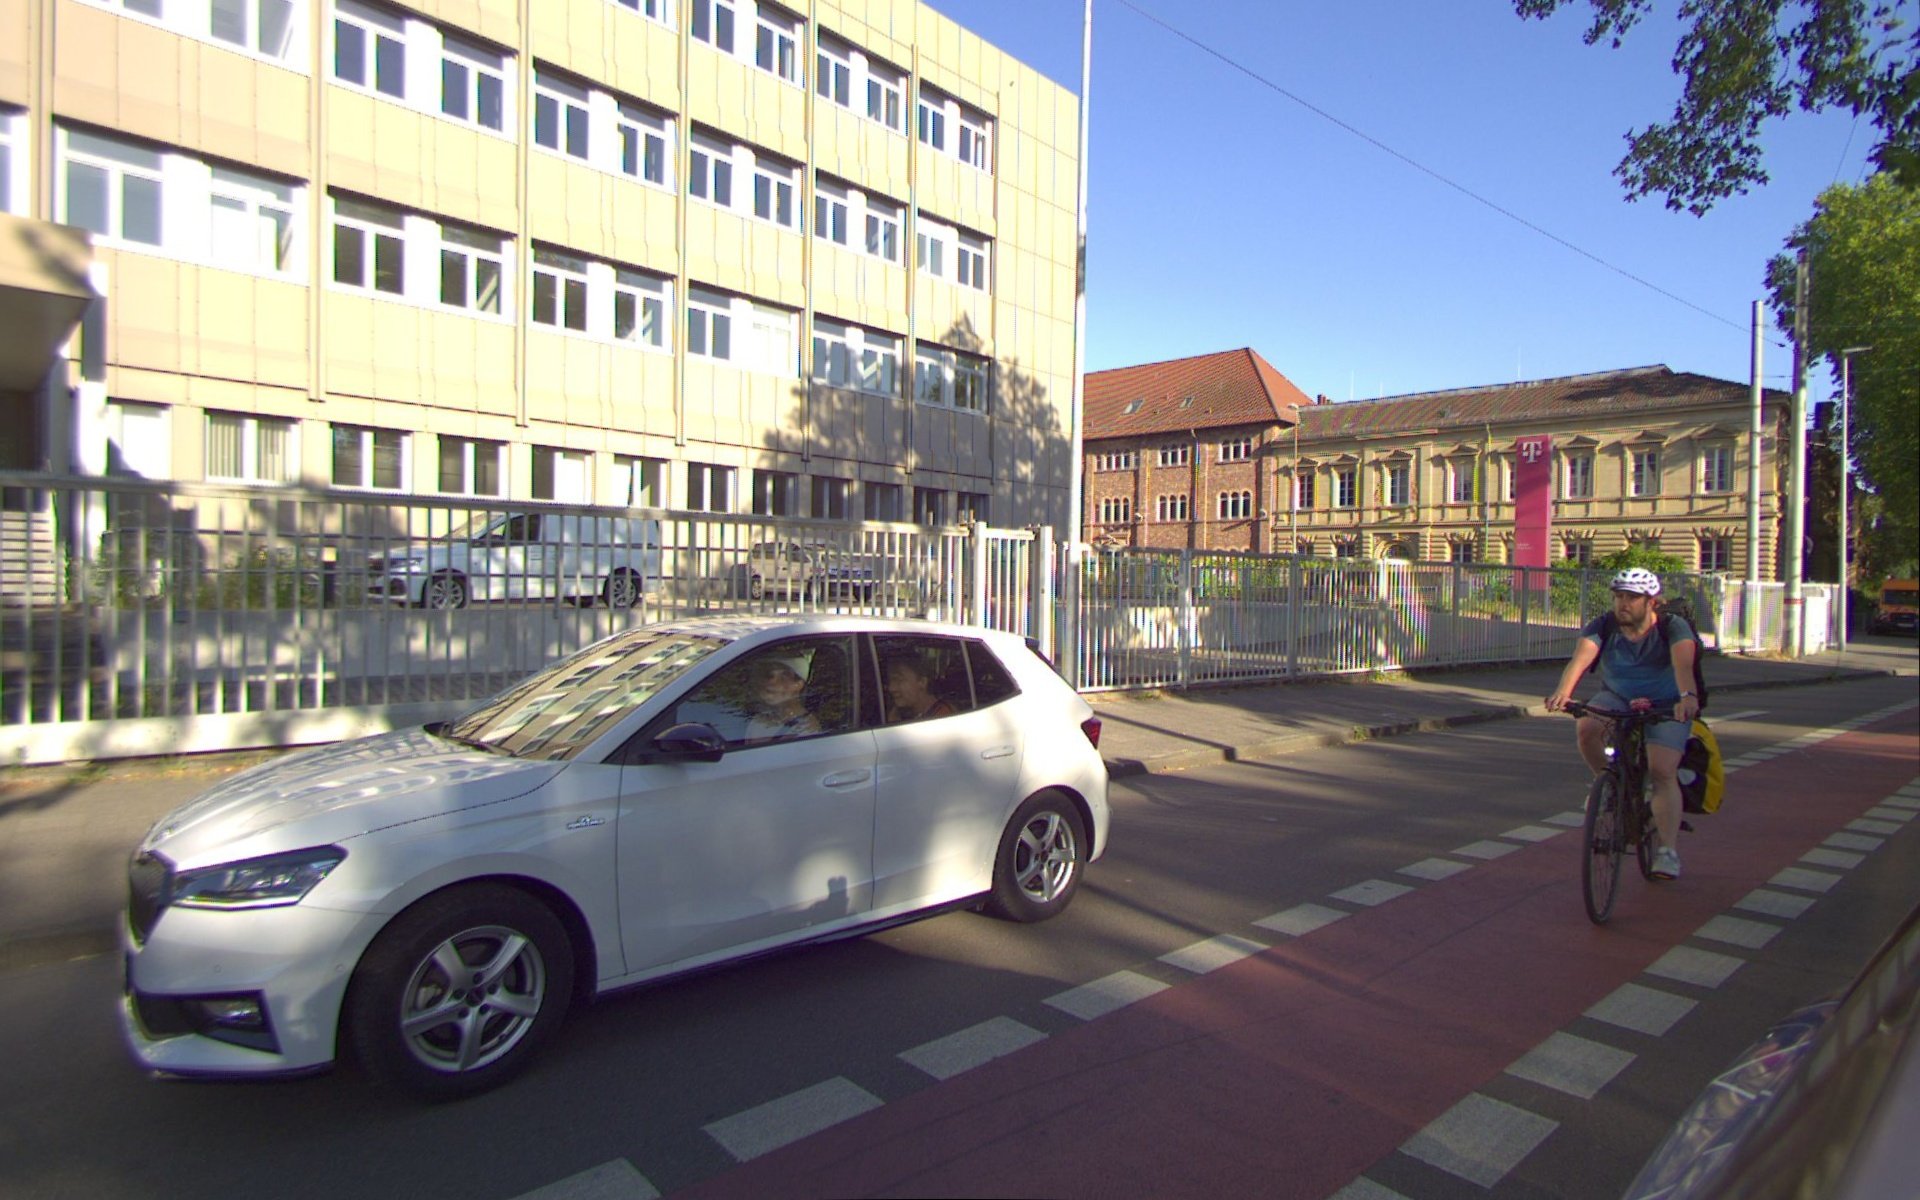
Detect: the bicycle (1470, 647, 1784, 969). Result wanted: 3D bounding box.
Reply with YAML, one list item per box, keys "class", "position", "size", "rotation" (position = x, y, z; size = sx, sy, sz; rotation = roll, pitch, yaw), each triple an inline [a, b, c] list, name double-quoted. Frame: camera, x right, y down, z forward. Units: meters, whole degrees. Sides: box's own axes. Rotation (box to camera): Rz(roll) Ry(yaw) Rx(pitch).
- class: "bicycle"
  position: [3.428, 0.880, 5.091]
  size: [2.267, 1.158, 0.763]
  rotation: [0, 1, -42]

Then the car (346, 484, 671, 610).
- class: "car"
  position: [-7.579, -0.829, 17.343]
  size: [1.994, 1.865, 4.709]
  rotation: [2, 2, 44]

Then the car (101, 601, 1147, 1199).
- class: "car"
  position: [-1.094, 0.722, 4.414]
  size: [4.005, 1.406, 1.703]
  rotation: [0, 1, -42]

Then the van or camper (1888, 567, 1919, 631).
- class: "van or camper"
  position: [41.148, -0.073, 43.255]
  size: [1.994, 2.626, 5.537]
  rotation: [0, 0, 44]

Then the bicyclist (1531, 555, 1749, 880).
- class: "bicyclist"
  position: [3.399, 0.516, 5.054]
  size: [0.845, 1.440, 0.727]
  rotation: [0, 0, -43]

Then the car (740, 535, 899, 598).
- class: "car"
  position: [-3.968, -0.932, 28.057]
  size: [4.563, 1.601, 1.968]
  rotation: [2, 2, 44]
